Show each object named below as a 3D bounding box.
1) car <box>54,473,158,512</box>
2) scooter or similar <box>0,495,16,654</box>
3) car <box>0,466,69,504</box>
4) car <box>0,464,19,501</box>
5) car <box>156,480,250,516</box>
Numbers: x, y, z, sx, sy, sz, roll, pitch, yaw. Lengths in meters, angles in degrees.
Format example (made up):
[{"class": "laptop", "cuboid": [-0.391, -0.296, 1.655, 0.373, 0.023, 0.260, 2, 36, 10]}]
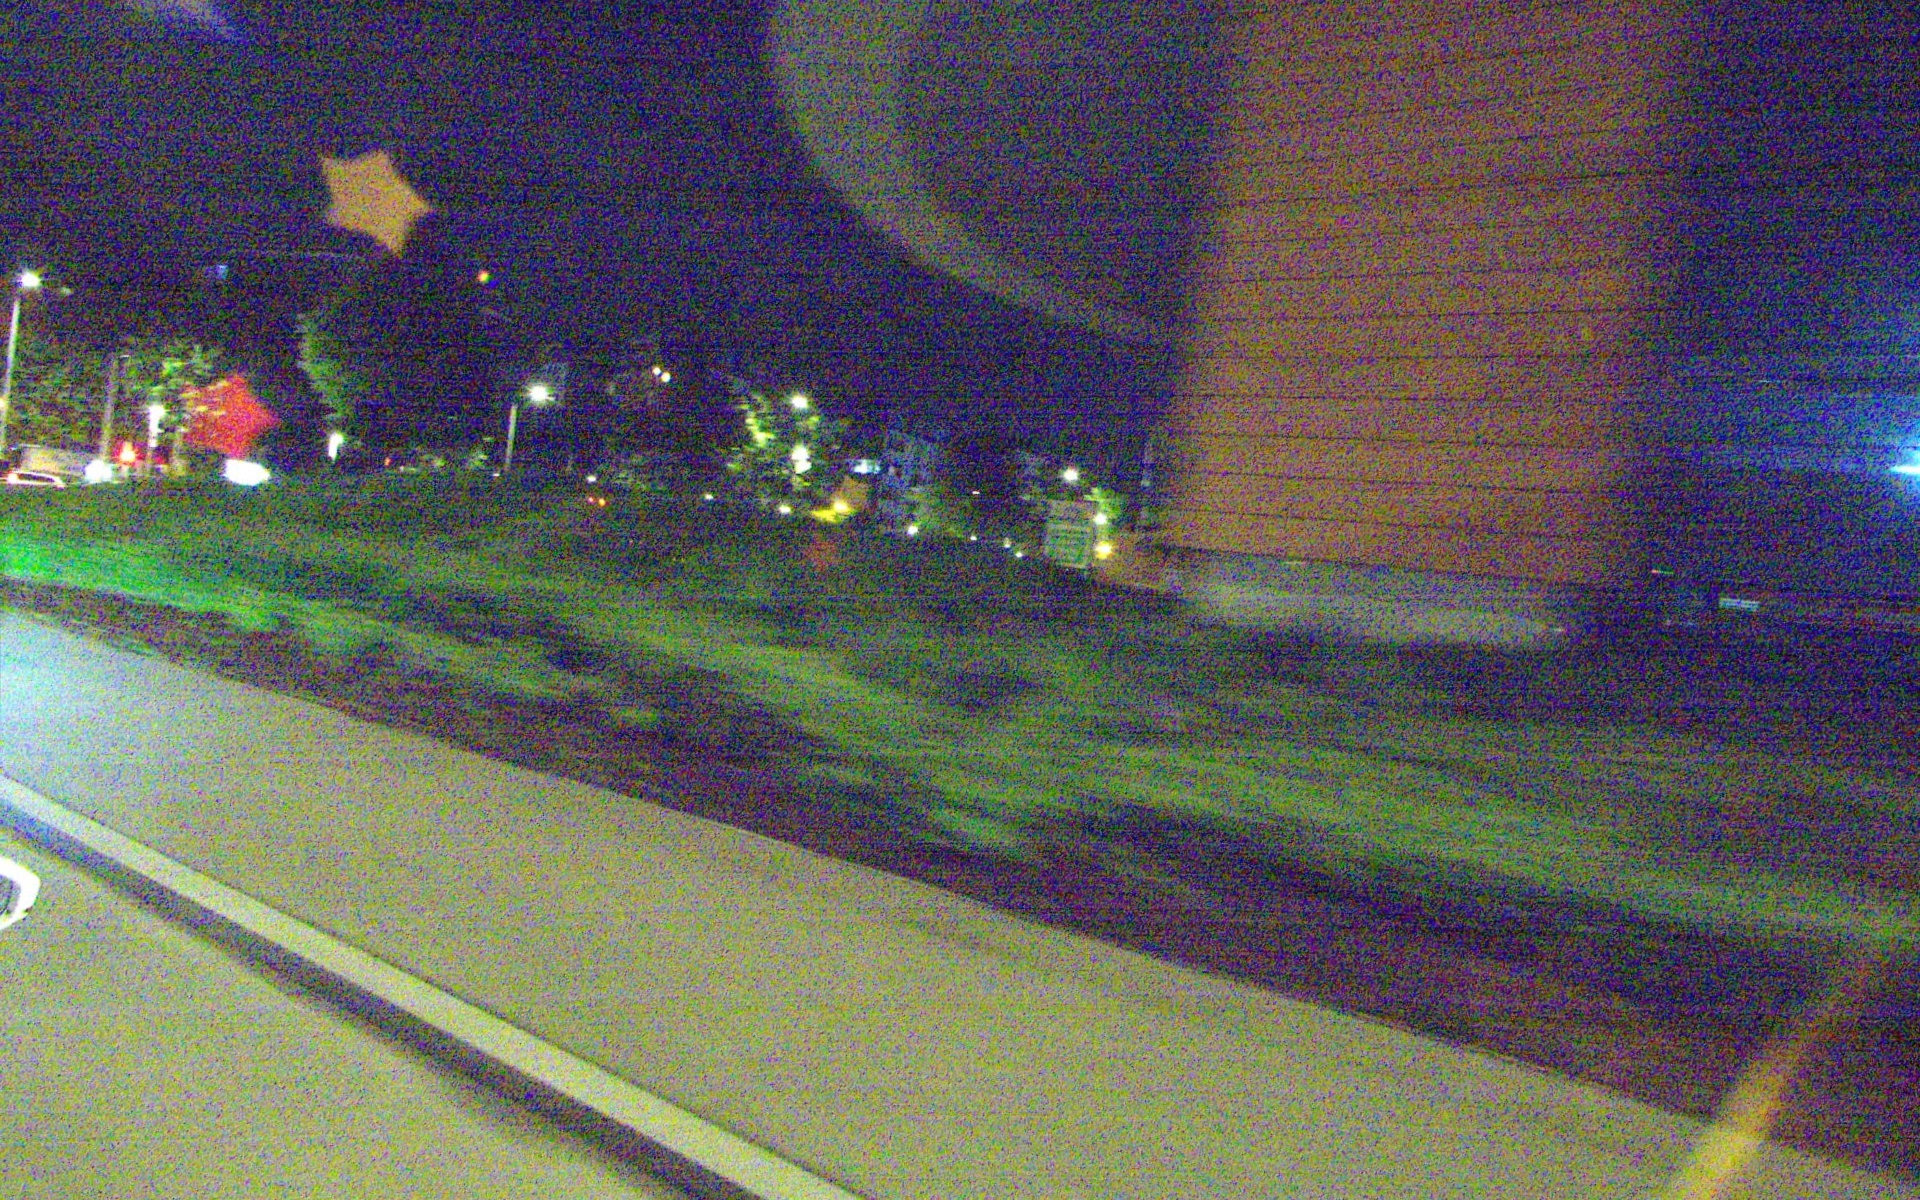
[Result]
[{"class": "car", "cuboid": [-43.584, -5.477, 51.397, 1.733, 1.548, 3.757, 8, 3, 39]}, {"class": "scooter or similar", "cuboid": [-8.397, -0.267, 8.332, 1.298, 1.279, 0.494, 7, 4, 32]}, {"class": "car", "cuboid": [-47.904, -5.892, 50.837, 1.841, 1.638, 4.050, 8, 3, 39]}, {"class": "car", "cuboid": [-46.441, -5.636, 46.081, 1.969, 1.662, 4.607, 7, 3, 35]}, {"class": "car", "cuboid": [-43.065, -5.777, 57.278, 1.858, 1.596, 3.975, 8, 4, 40]}]
